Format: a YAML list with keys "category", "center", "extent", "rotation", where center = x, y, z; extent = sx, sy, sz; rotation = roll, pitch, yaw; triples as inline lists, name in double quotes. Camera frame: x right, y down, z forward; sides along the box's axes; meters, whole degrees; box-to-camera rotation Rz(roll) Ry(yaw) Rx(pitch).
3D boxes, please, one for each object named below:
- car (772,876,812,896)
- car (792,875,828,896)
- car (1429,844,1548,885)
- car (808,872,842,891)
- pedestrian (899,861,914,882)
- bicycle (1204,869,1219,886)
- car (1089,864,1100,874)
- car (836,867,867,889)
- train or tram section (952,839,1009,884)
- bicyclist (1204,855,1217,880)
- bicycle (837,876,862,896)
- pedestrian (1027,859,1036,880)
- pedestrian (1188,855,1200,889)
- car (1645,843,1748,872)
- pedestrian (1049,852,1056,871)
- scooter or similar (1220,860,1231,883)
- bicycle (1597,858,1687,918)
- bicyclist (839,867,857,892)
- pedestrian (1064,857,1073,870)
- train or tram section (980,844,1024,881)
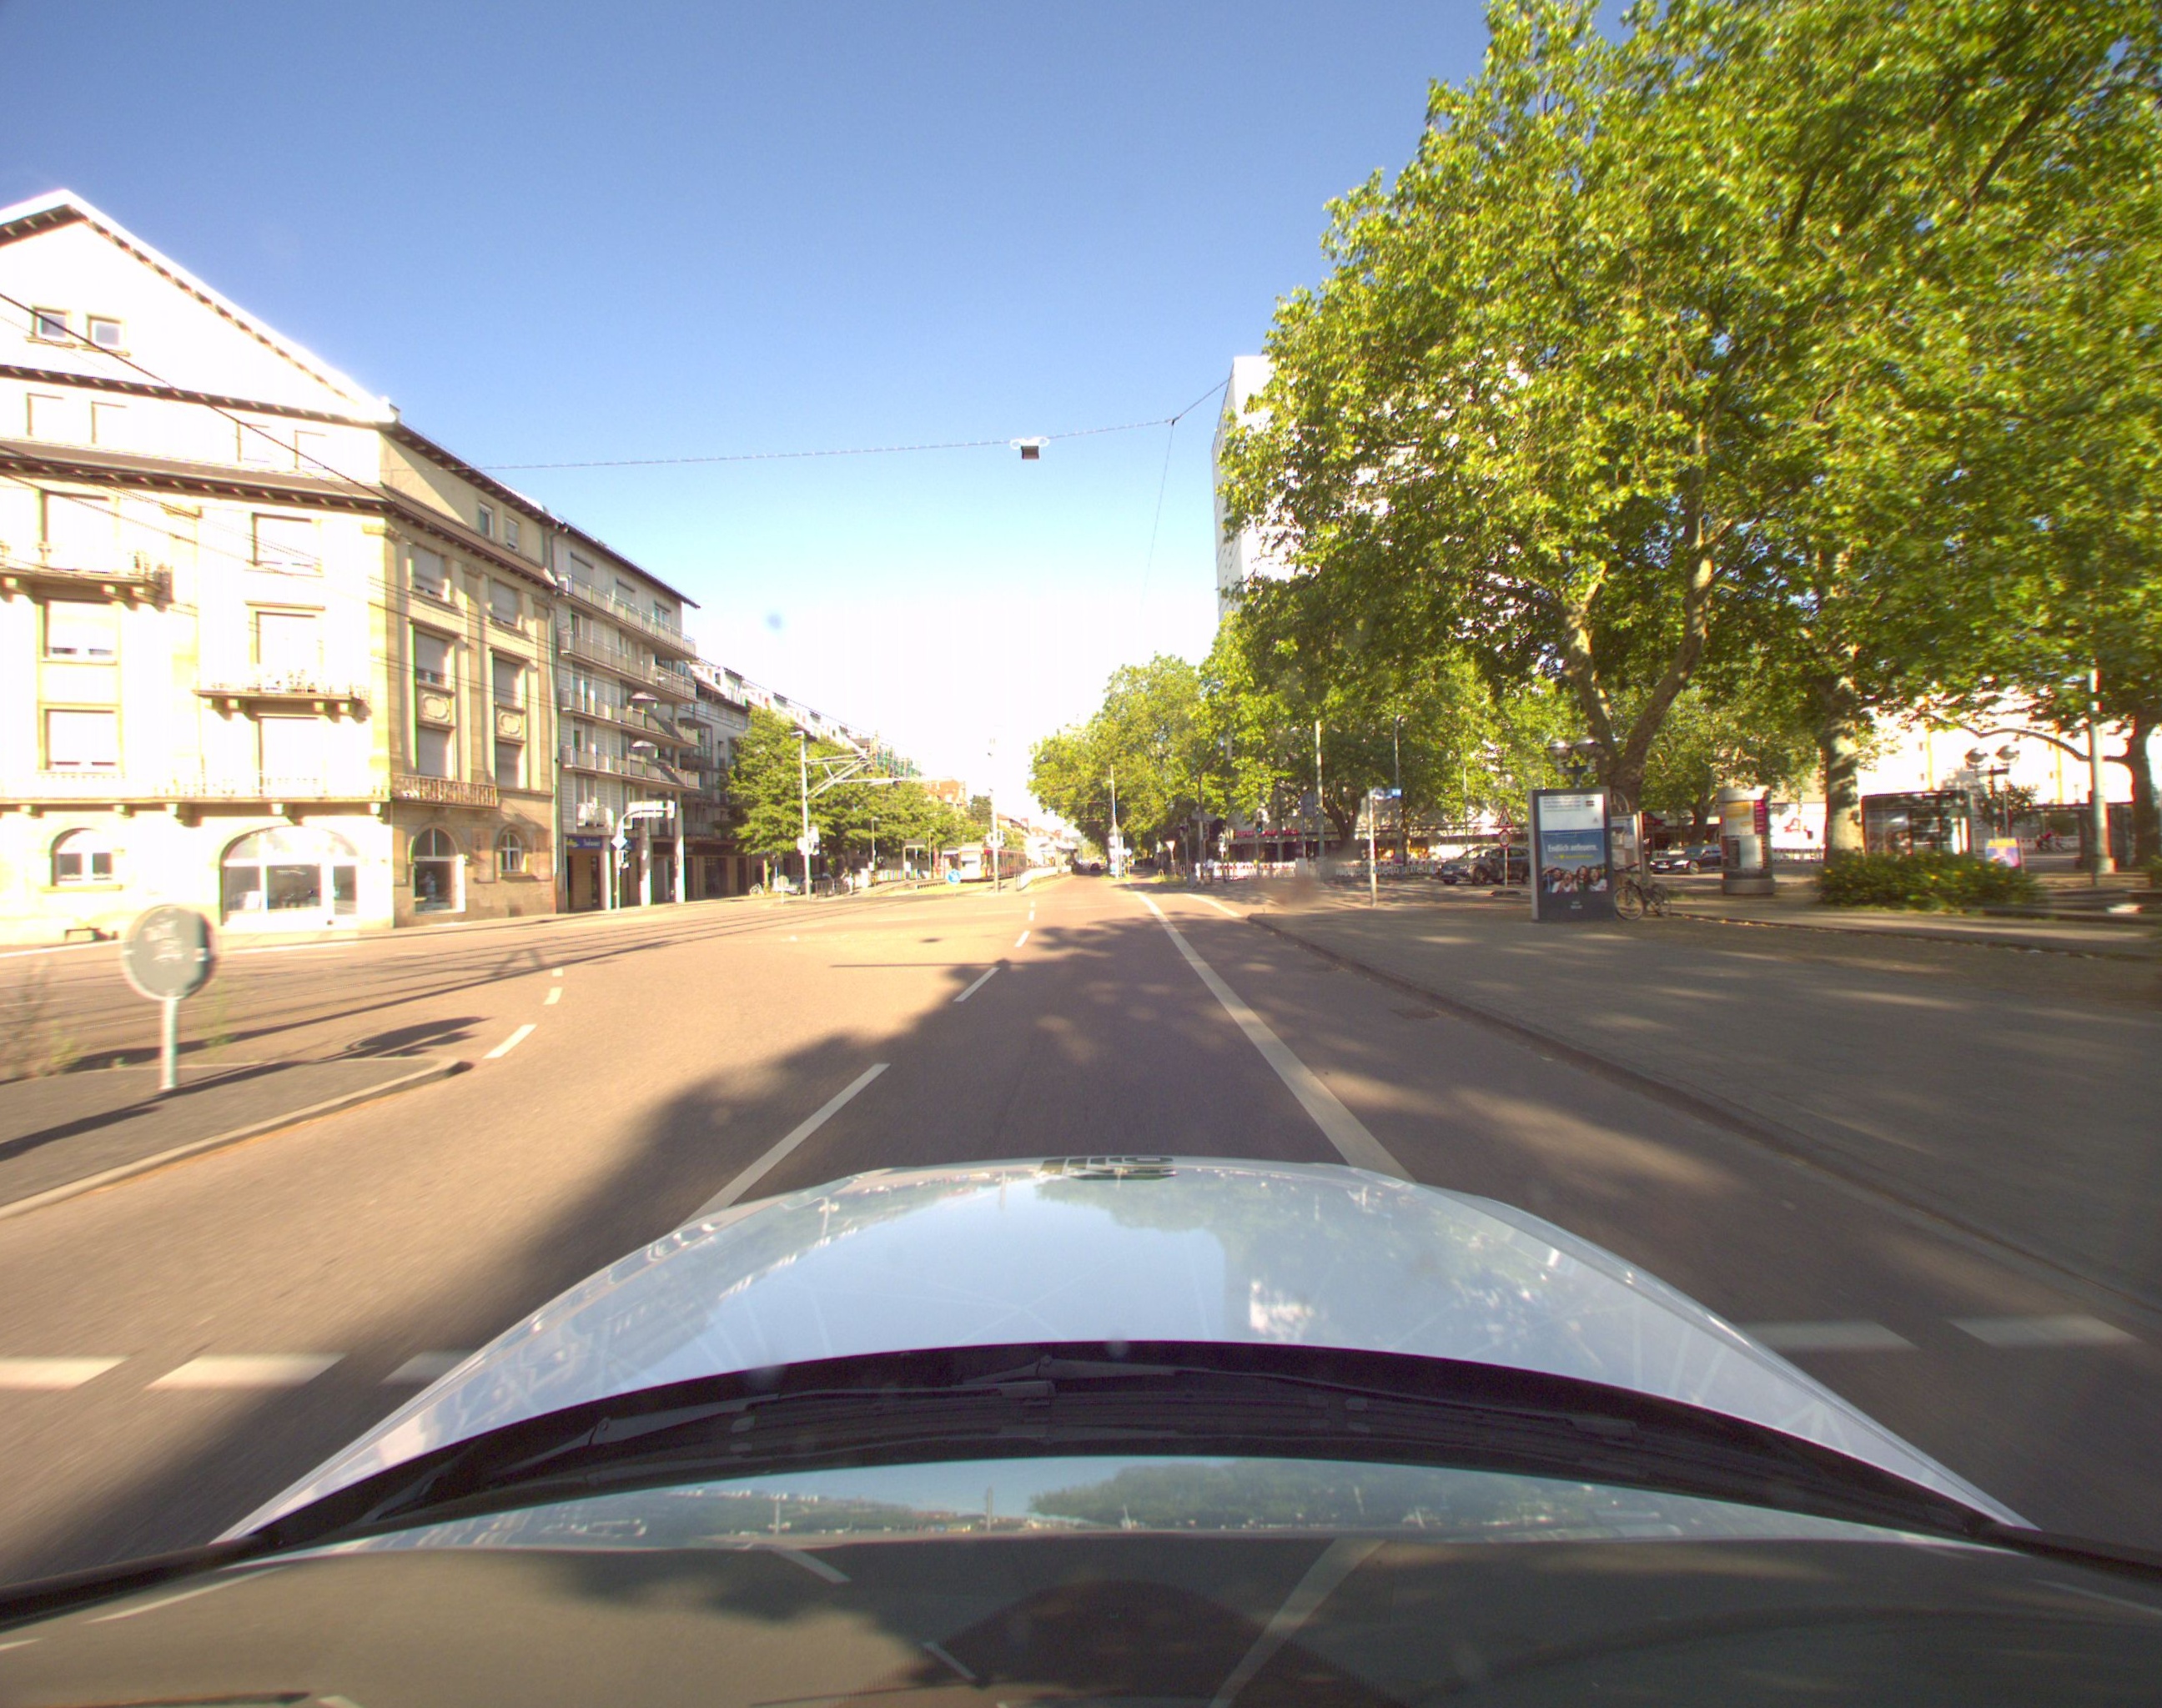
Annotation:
- category: "car"
  center: [-23.553, 2.603, 66.500]
  extent: [1.800, 1.578, 3.786]
  rotation: [0, -1, 1]
- category: "car"
  center: [-23.472, 2.690, 70.678]
  extent: [1.800, 1.677, 3.786]
  rotation: [0, -1, 1]
- category: "car"
  center: [17.295, 0.426, 34.590]
  extent: [4.581, 1.640, 1.922]
  rotation: [0, -1, -21]
- category: "car"
  center: [-23.405, 2.532, 74.598]
  extent: [1.800, 1.636, 3.786]
  rotation: [0, -1, 1]
- category: "pedestrian"
  center: [-13.085, 1.287, 61.185]
  extent: [0.897, 1.581, 0.958]
  rotation: [0, -1, -1]
- category: "bicycle"
  center: [8.063, 1.459, 50.400]
  extent: [0.601, 1.026, 1.765]
  rotation: [-2, -1, -1]
- category: "car"
  center: [2.418, 2.708, 149.260]
  extent: [1.986, 1.684, 4.001]
  rotation: [0, -1, 2]
- category: "car"
  center: [-23.141, 2.438, 82.251]
  extent: [1.933, 2.166, 3.786]
  rotation: [0, -1, 1]
- category: "train or tram section"
  center: [-9.201, 0.727, 76.643]
  extent: [2.859, 3.676, 14.566]
  rotation: [-2, -1, 2]
- category: "bicyclist"
  center: [8.033, 0.844, 50.544]
  extent: [0.601, 1.551, 0.859]
  rotation: [-2, -1, -1]
- category: "bicycle"
  center: [-13.184, 1.804, 46.455]
  extent: [0.529, 1.053, 1.831]
  rotation: [-1, 0, 13]
- category: "pedestrian"
  center: [-3.756, 1.157, 61.905]
  extent: [0.627, 1.610, 0.982]
  rotation: [0, -1, 0]
- category: "pedestrian"
  center: [5.597, 0.897, 40.203]
  extent: [0.427, 1.639, 0.612]
  rotation: [-1, -1, -6]
- category: "car"
  center: [29.886, 0.161, 39.558]
  extent: [4.439, 1.361, 1.922]
  rotation: [0, -1, -21]
- category: "pedestrian"
  center: [-2.813, 0.789, 81.460]
  extent: [0.667, 1.902, 0.824]
  rotation: [0, -1, 1]
- category: "scooter or similar"
  center: [8.104, 0.970, 45.700]
  extent: [0.557, 1.257, 1.293]
  rotation: [-3, -1, 10]
- category: "bicycle"
  center: [10.539, 0.619, 15.296]
  extent: [1.828, 1.053, 0.530]
  rotation: [-1, -1, -25]
- category: "bicyclist"
  center: [-13.243, 1.427, 46.227]
  extent: [0.529, 1.372, 1.022]
  rotation: [-1, -1, 13]
- category: "pedestrian"
  center: [-1.633, 1.222, 105.030]
  extent: [0.914, 1.722, 0.625]
  rotation: [0, -1, -32]
- category: "train or tram section"
  center: [-8.692, 0.927, 91.222]
  extent: [2.859, 3.686, 14.566]
  rotation: [-2, -1, 2]
